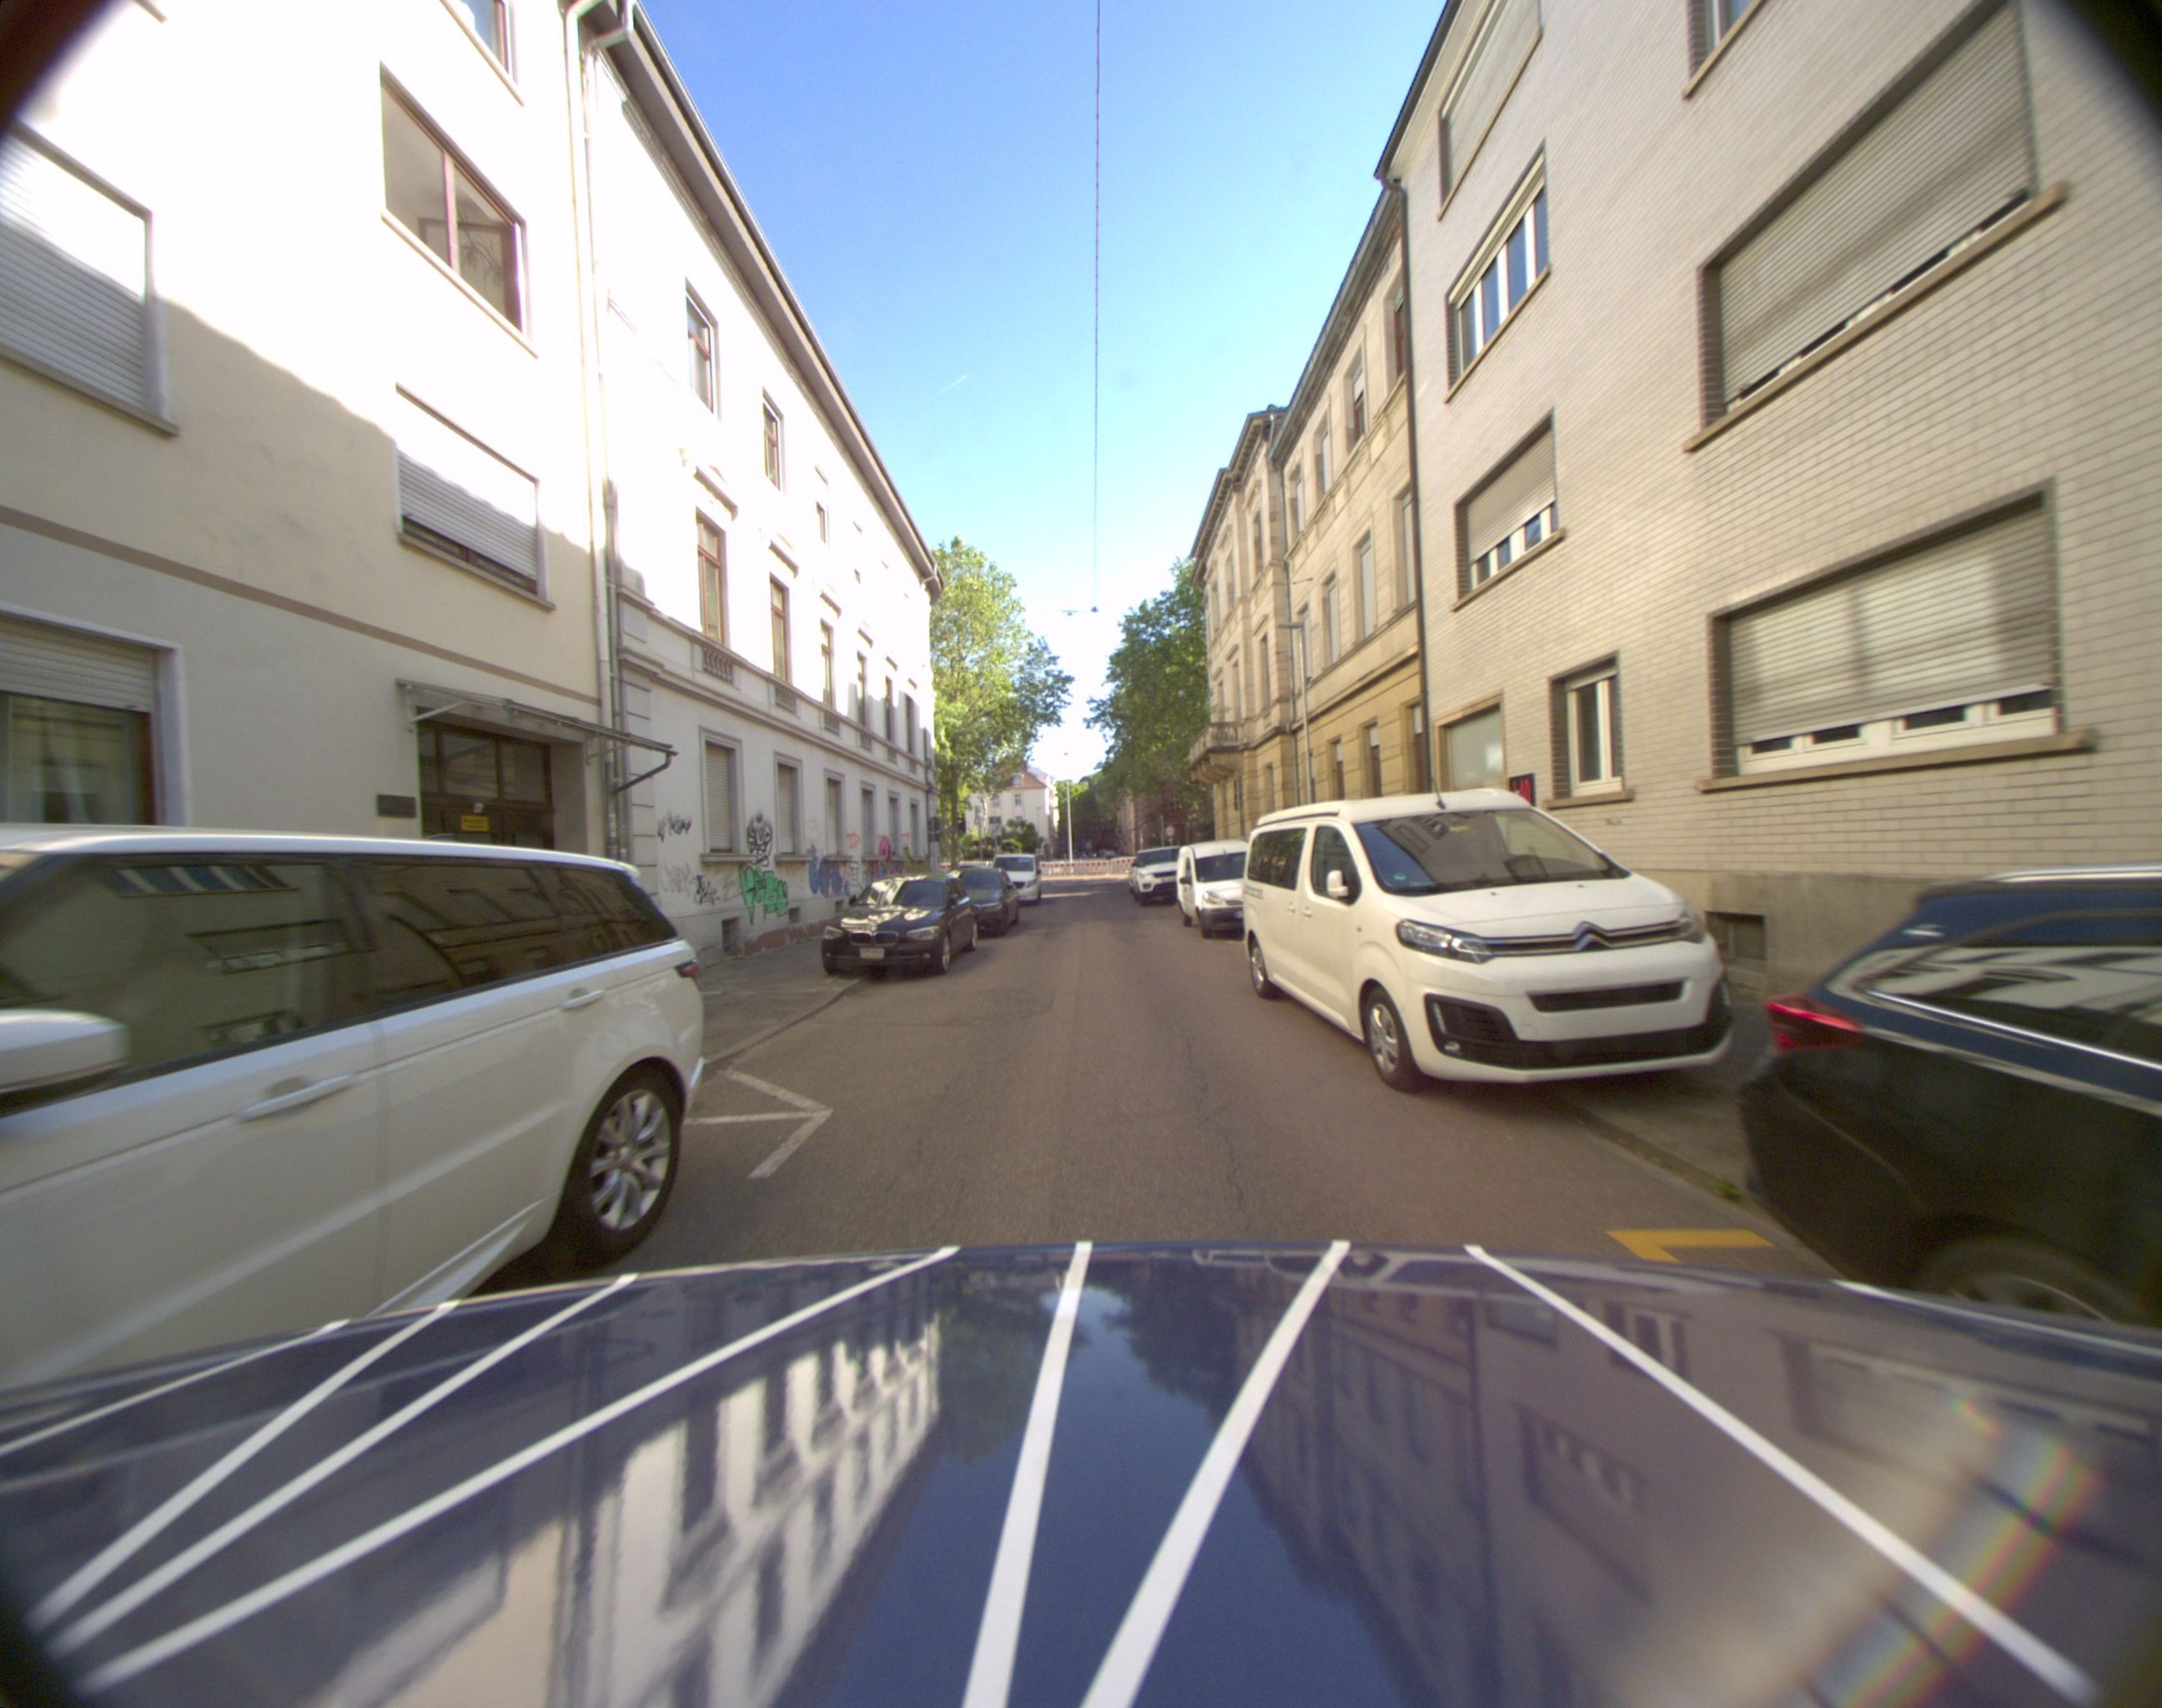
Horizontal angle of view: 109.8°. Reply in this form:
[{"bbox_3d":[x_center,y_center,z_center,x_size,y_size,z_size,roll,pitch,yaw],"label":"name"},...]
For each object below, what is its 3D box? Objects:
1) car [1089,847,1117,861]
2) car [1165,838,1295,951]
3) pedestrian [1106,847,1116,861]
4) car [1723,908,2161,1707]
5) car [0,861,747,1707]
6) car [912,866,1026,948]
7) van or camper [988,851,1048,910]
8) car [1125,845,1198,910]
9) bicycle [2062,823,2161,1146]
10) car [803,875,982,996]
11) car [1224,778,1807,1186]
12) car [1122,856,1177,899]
[{"bbox_3d":[3.055,0.007,106.695,3.800,1.726,1.623,-2,0,0],"label":"car"},{"bbox_3d":[2.889,0.740,15.588,1.748,1.865,4.090,-6,0,1],"label":"car"},{"bbox_3d":[3.551,-0.013,90.354,0.761,1.651,0.826,-2,0,-27],"label":"pedestrian"},{"bbox_3d":[2.790,0.906,0.109,1.711,1.442,4.301,-3,0,0],"label":"car"},{"bbox_3d":[-2.888,0.938,1.665,2.010,1.773,4.939,-2,0,1],"label":"car"},{"bbox_3d":[-2.443,1.114,17.804,1.819,1.510,4.728,-4,0,1],"label":"car"},{"bbox_3d":[-2.323,0.959,29.314,1.899,2.002,5.031,-2,0,-1],"label":"van or camper"},{"bbox_3d":[2.666,0.741,26.179,2.027,2.002,4.543,-2,0,1],"label":"car"},{"bbox_3d":[5.340,0.609,2.978,0.558,1.500,1.800,-4,0,-2],"label":"bicycle"},{"bbox_3d":[-2.789,1.155,12.145,1.751,1.440,3.870,-4,0,1],"label":"car"},{"bbox_3d":[2.671,0.667,6.261,1.899,1.946,4.781,-4,0,-1],"label":"car"},{"bbox_3d":[2.900,0.961,32.732,1.872,1.552,3.941,-4,1,-1],"label":"car"}]
